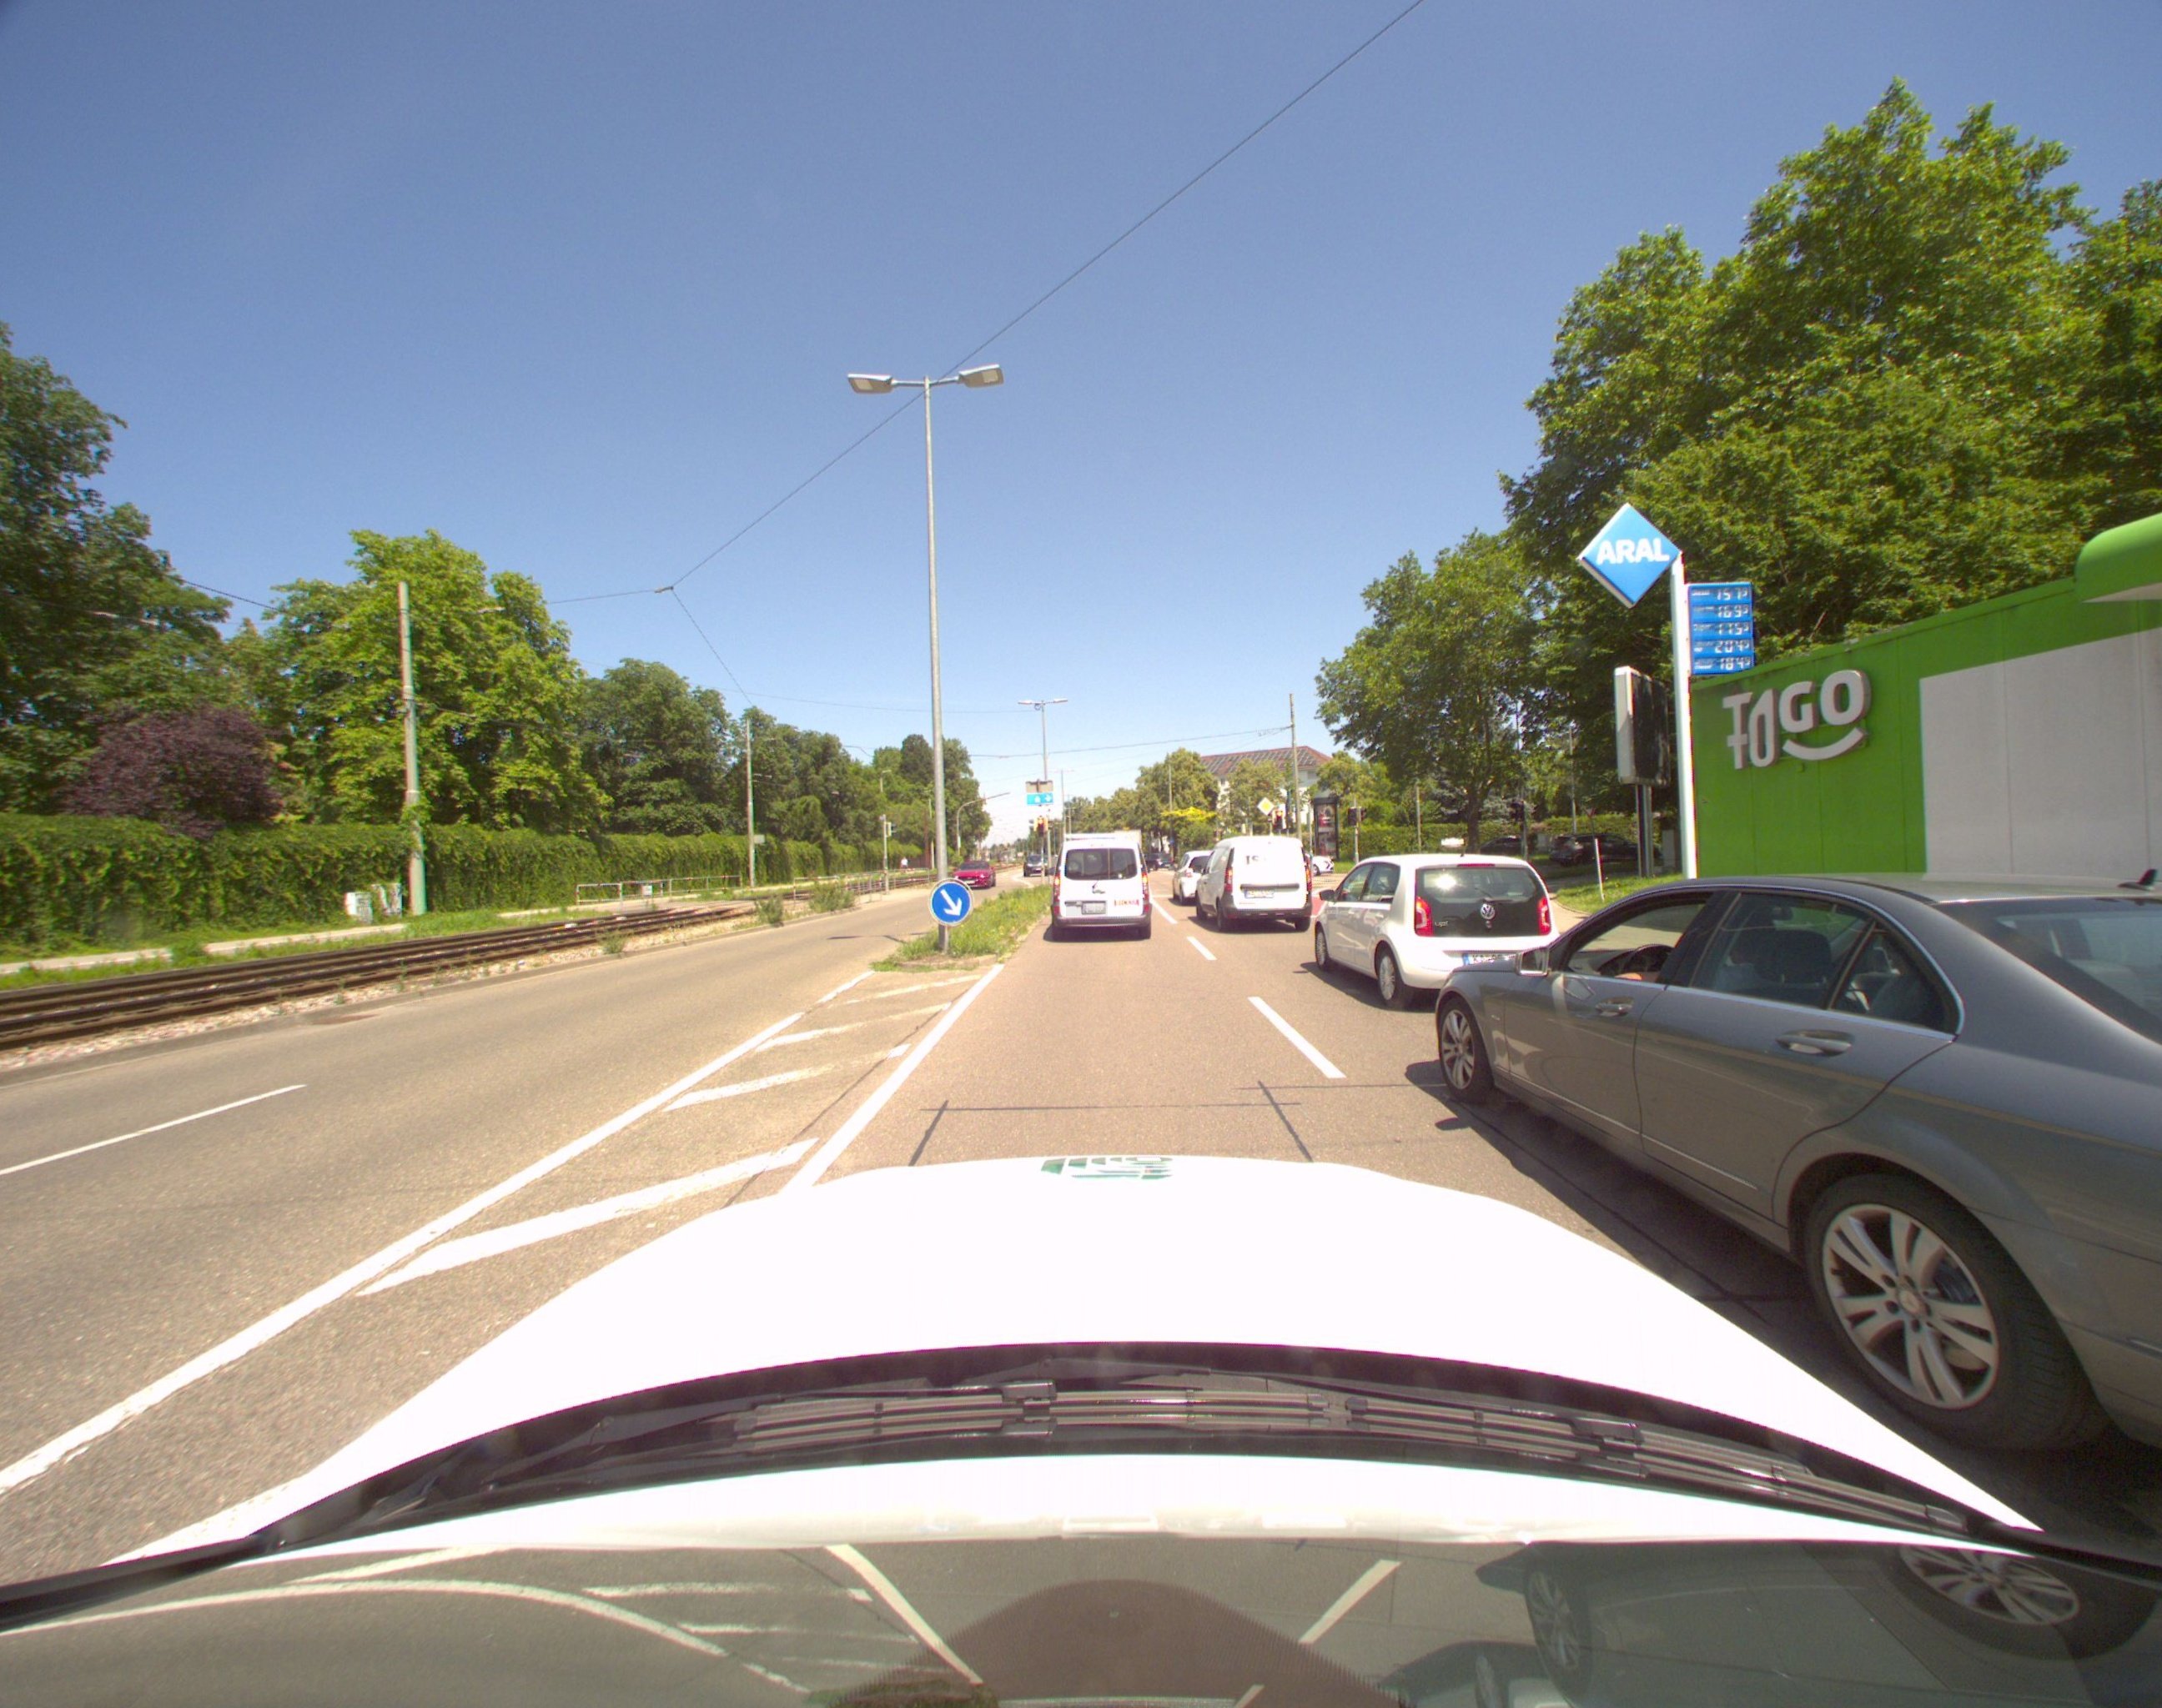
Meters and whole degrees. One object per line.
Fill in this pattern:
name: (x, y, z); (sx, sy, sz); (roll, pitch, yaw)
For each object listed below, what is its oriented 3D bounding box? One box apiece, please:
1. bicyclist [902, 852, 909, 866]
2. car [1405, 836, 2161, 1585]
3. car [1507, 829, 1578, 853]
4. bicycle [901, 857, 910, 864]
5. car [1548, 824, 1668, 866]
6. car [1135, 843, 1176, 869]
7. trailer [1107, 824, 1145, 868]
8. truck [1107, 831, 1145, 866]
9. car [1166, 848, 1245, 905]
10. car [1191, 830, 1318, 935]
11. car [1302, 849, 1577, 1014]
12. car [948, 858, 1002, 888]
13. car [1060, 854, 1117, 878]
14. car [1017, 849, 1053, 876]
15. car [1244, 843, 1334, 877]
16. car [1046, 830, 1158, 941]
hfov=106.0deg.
bicyclist: (-18.603, 0.525, 86.305); (0.556, 1.478, 0.561); (-2, 0, 1)
car: (3.074, 0.689, 3.393); (1.789, 1.449, 4.420); (-2, 0, 2)
car: (32.732, -0.902, 57.853); (3.963, 1.508, 2.005); (-2, 0, 9)
bicycle: (-18.595, 0.692, 86.277); (0.559, 0.647, 1.721); (-2, 0, 2)
car: (25.760, -0.431, 39.977); (4.490, 1.829, 2.009); (-2, 0, 16)
car: (6.148, 0.148, 67.822); (1.999, 2.013, 3.976); (-2, 0, -17)
trailer: (4.533, -0.784, 81.686); (3.512, 4.050, 8.986); (-2, 0, 3)
truck: (4.894, -0.578, 90.478); (3.565, 3.632, 8.806); (-2, 0, 0)
car: (3.586, 0.602, 24.087); (1.750, 1.486, 4.001); (-2, 0, 1)
car: (3.375, 0.503, 16.583); (1.704, 1.830, 4.013); (-2, 0, 0)
car: (3.696, 0.692, 9.080); (1.601, 1.451, 3.522); (-1, 0, 2)
car: (-5.324, 0.926, 41.434); (1.976, 1.358, 4.540); (-2, 0, 2)
car: (0.417, 0.742, 50.741); (1.550, 1.379, 3.960); (-2, 0, -34)
car: (-3.454, 0.644, 60.539); (1.996, 1.860, 3.982); (-2, 0, -13)
car: (11.200, 0.318, 43.827); (4.402, 1.617, 2.011); (-2, 0, 22)
car: (0.374, 0.529, 15.720); (1.860, 1.836, 3.848); (-1, 0, 0)
